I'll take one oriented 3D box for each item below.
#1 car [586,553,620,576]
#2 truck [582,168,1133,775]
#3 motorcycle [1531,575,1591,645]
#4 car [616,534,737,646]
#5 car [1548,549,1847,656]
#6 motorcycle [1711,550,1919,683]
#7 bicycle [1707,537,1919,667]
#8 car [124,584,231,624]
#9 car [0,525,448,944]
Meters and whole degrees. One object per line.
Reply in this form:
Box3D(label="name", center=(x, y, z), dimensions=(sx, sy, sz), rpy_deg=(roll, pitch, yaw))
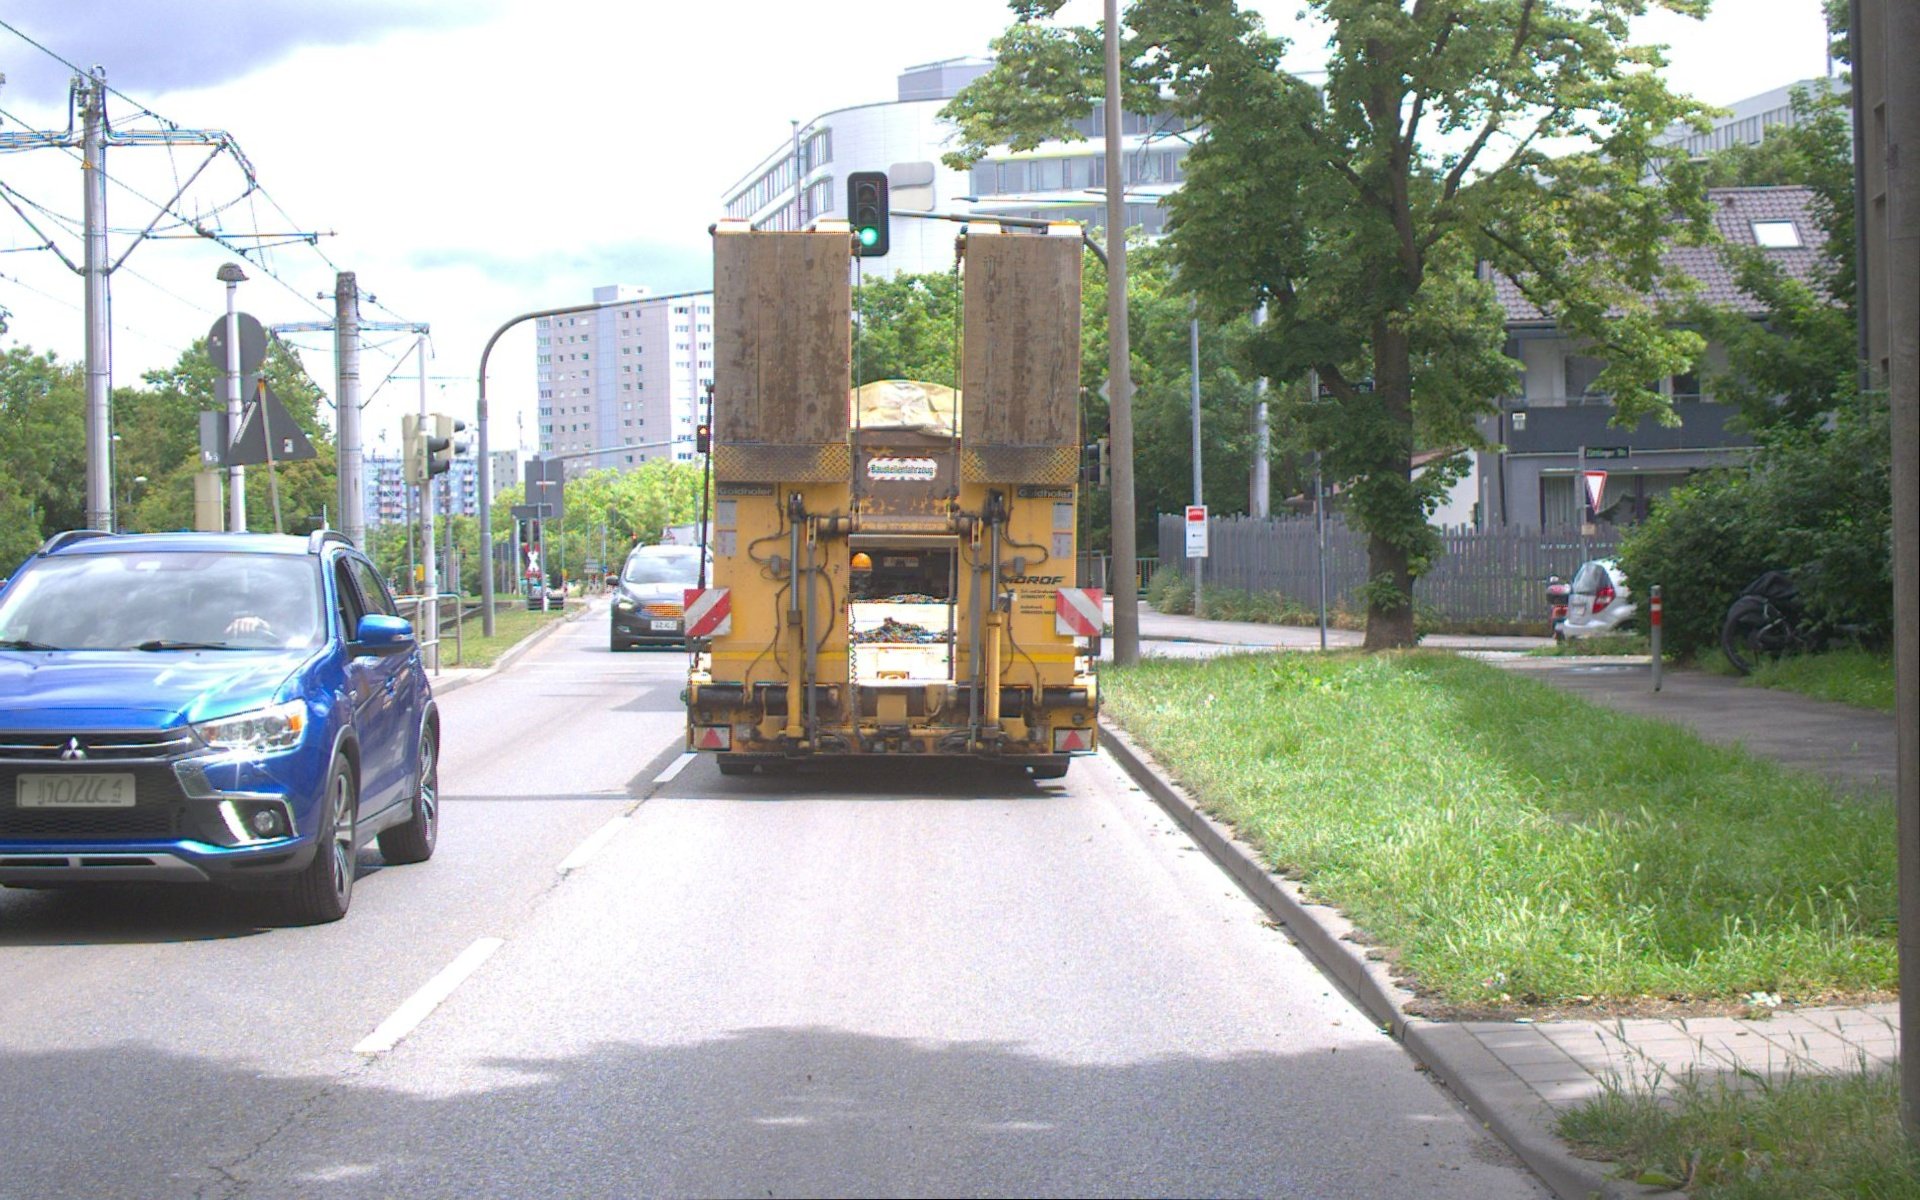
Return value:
Box3D(label="car", center=(-22.189, -2.215, 213.696), dimensions=(1.993, 1.415, 4.001), rpy_deg=(0, 0, -7))
Box3D(label="truck", center=(-0.857, -0.792, 26.963), dimensions=(3.316, 3.638, 12.563), rpy_deg=(0, 0, -2))
Box3D(label="motorcycle", center=(10.075, 0.156, 57.562), dimensions=(0.659, 1.145, 2.422), rpy_deg=(0, 0, 18))
Box3D(label="car", center=(-4.412, -0.174, 53.940), dimensions=(1.707, 1.670, 4.228), rpy_deg=(0, 1, -2))
Box3D(label="car", center=(11.076, 0.018, 51.774), dimensions=(3.986, 1.548, 1.940), rpy_deg=(0, 1, -8))
Box3D(label="motorcycle", center=(8.694, 0.164, 34.439), dimensions=(2.205, 1.278, 0.680), rpy_deg=(-1, 0, 8))
Box3D(label="bicycle", center=(8.787, 0.021, 35.147), dimensions=(2.167, 1.278, 0.680), rpy_deg=(-1, 0, 8))
Box3D(label="car", center=(-30.729, 0.150, 135.098), dimensions=(3.986, 1.547, 2.001), rpy_deg=(0, 0, -10))
Box3D(label="car", center=(-3.358, 0.464, 15.011), dimensions=(1.713, 1.561, 4.167), rpy_deg=(0, 1, -1))
